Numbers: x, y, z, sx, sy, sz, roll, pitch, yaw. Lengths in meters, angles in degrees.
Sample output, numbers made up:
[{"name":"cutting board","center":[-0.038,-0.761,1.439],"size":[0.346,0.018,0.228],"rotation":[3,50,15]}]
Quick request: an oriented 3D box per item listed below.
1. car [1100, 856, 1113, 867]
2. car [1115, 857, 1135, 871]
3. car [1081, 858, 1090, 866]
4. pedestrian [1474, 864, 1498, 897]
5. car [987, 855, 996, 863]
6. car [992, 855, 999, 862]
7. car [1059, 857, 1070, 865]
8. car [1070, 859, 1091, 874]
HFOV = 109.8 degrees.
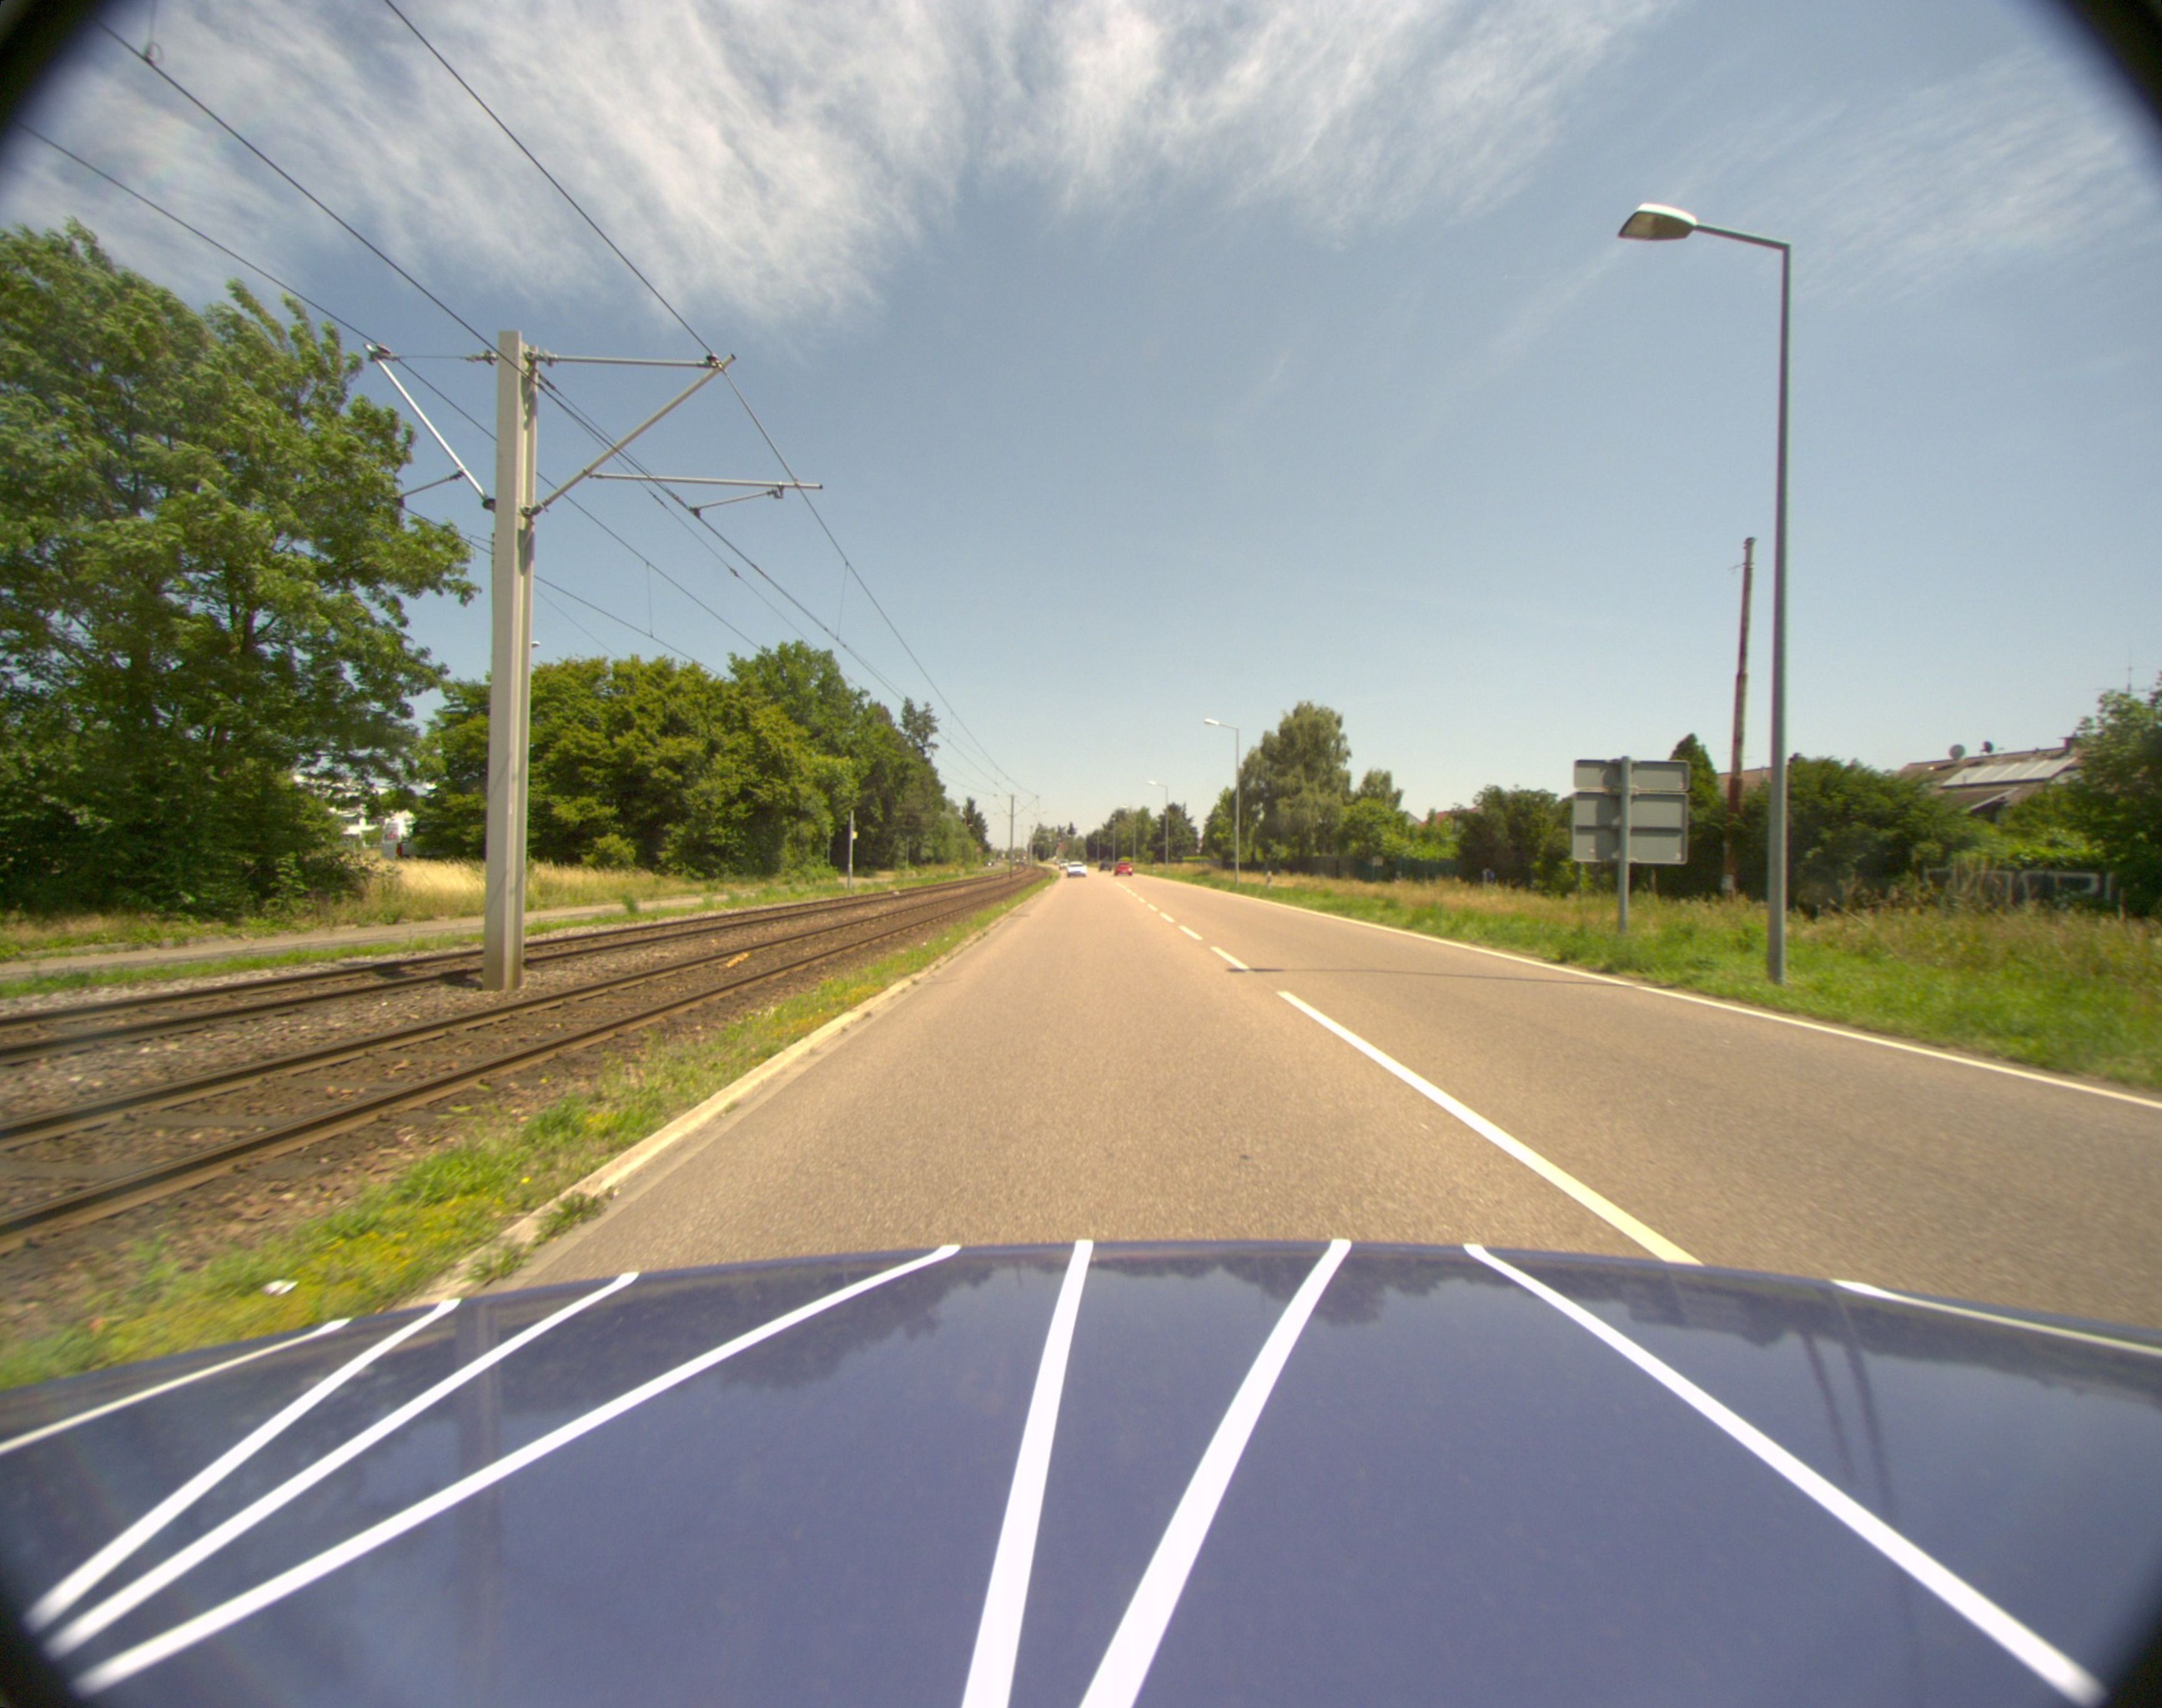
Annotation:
[{"name":"car","center":[3.676,1.074,109.624],"size":[1.689,1.560,3.966],"rotation":[0,0,-2]},{"name":"car","center":[4.448,1.006,77.729],"size":[1.684,1.390,3.999],"rotation":[0,0,-1]},{"name":"car","center":[0.932,1.619,157.260],"size":[1.820,1.496,3.999],"rotation":[0,0,-2]},{"name":"pedestrian","center":[17.083,1.106,32.093],"size":[0.582,1.347,0.798],"rotation":[0,0,0]},{"name":"car","center":[-22.191,1.207,188.685],"size":[1.999,1.710,3.999],"rotation":[-2,1,-2]},{"name":"car","center":[-24.823,1.301,221.064],"size":[1.947,1.685,3.998],"rotation":[-2,1,-6]},{"name":"car","center":[-3.054,1.302,139.157],"size":[1.892,1.456,3.998],"rotation":[0,0,-4]},{"name":"car","center":[-0.082,1.218,75.848],"size":[1.955,1.467,4.361],"rotation":[1,0,-2]}]
